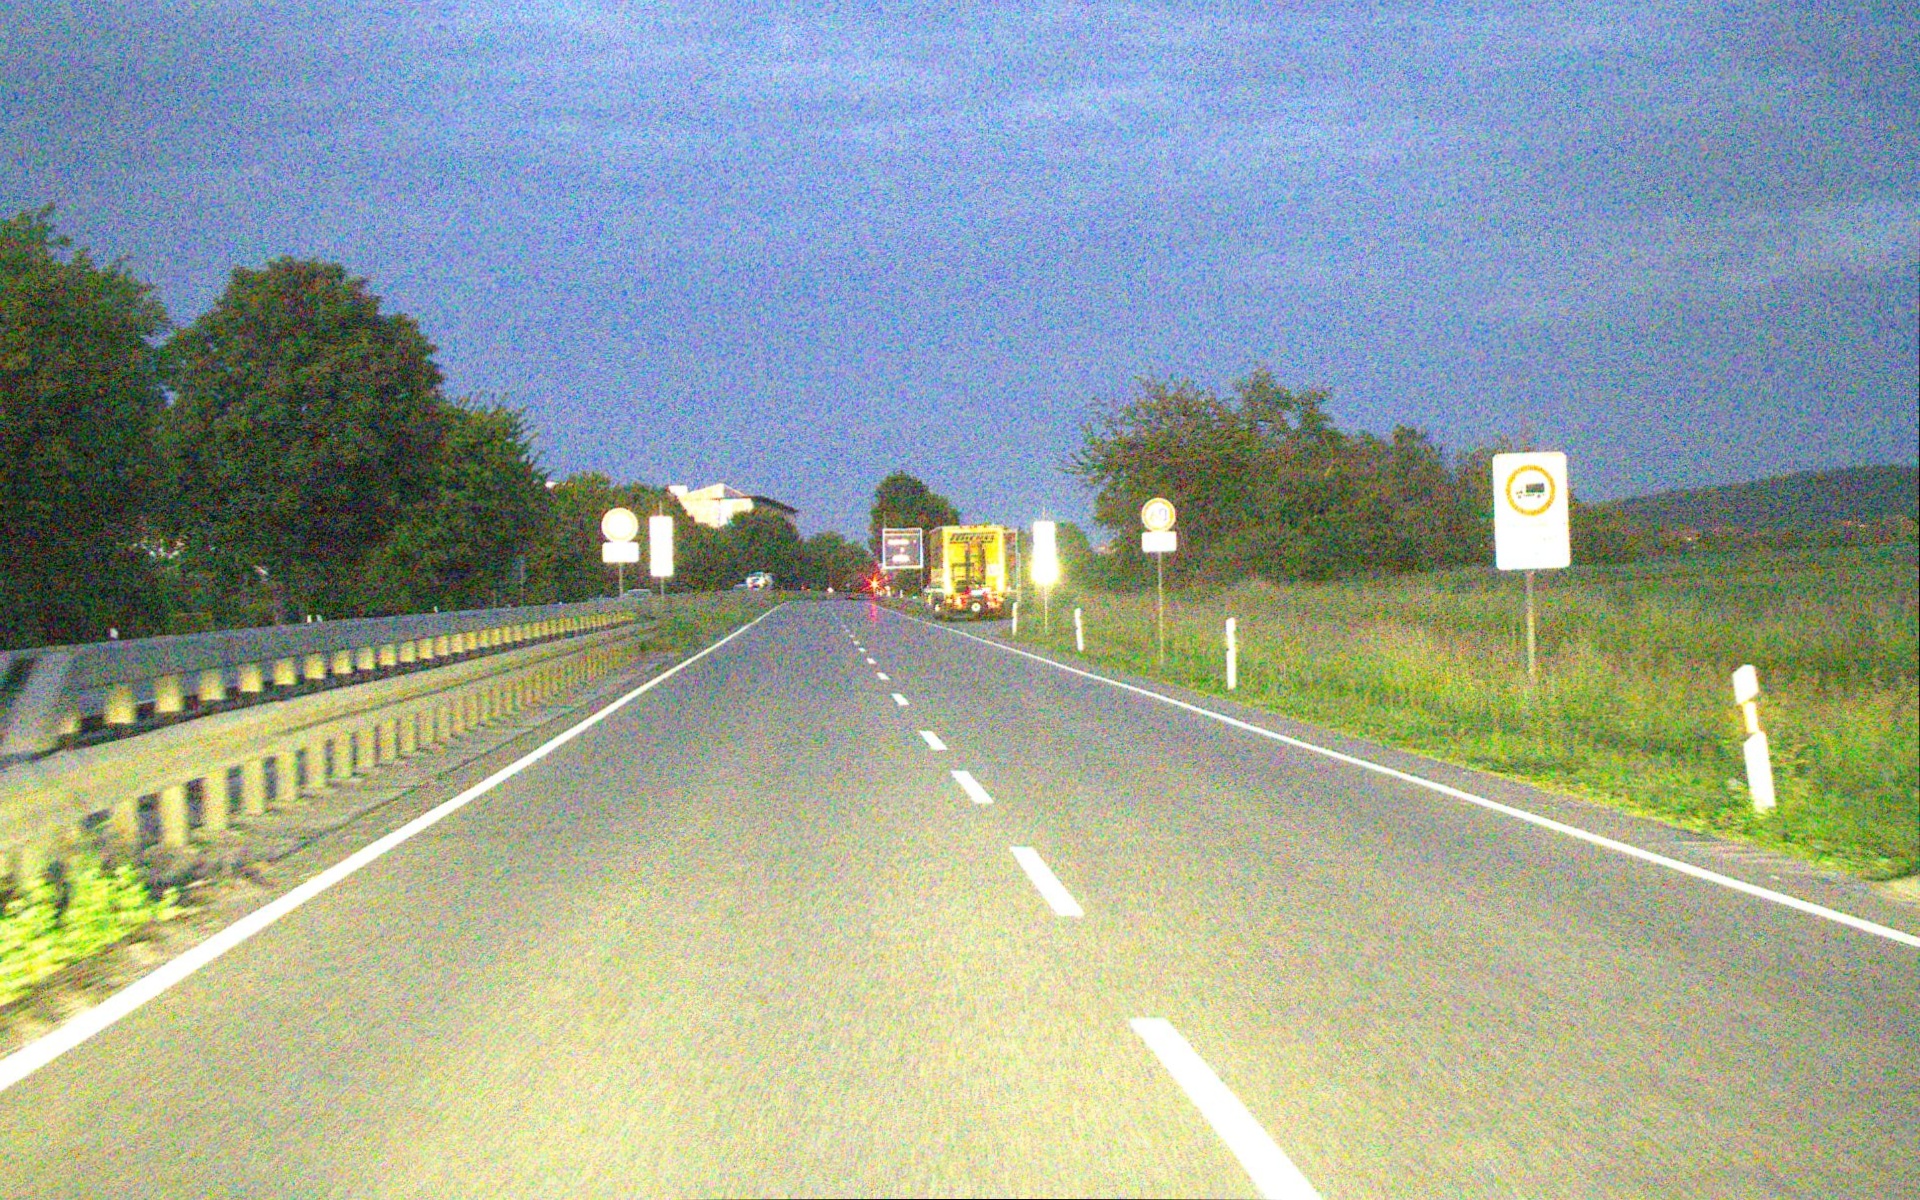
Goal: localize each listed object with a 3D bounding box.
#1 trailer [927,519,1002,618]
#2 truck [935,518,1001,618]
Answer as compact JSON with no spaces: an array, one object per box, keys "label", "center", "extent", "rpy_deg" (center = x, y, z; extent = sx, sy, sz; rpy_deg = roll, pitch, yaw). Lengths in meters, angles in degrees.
[{"label":"trailer","center":[0.127,-1.379,150.294],"extent":[2.622,4.090,12.938],"rpy_deg":[-1,0,-2]},{"label":"truck","center":[0.321,-1.368,144.317],"extent":[2.579,4.057,6.130],"rpy_deg":[0,1,-1]}]
